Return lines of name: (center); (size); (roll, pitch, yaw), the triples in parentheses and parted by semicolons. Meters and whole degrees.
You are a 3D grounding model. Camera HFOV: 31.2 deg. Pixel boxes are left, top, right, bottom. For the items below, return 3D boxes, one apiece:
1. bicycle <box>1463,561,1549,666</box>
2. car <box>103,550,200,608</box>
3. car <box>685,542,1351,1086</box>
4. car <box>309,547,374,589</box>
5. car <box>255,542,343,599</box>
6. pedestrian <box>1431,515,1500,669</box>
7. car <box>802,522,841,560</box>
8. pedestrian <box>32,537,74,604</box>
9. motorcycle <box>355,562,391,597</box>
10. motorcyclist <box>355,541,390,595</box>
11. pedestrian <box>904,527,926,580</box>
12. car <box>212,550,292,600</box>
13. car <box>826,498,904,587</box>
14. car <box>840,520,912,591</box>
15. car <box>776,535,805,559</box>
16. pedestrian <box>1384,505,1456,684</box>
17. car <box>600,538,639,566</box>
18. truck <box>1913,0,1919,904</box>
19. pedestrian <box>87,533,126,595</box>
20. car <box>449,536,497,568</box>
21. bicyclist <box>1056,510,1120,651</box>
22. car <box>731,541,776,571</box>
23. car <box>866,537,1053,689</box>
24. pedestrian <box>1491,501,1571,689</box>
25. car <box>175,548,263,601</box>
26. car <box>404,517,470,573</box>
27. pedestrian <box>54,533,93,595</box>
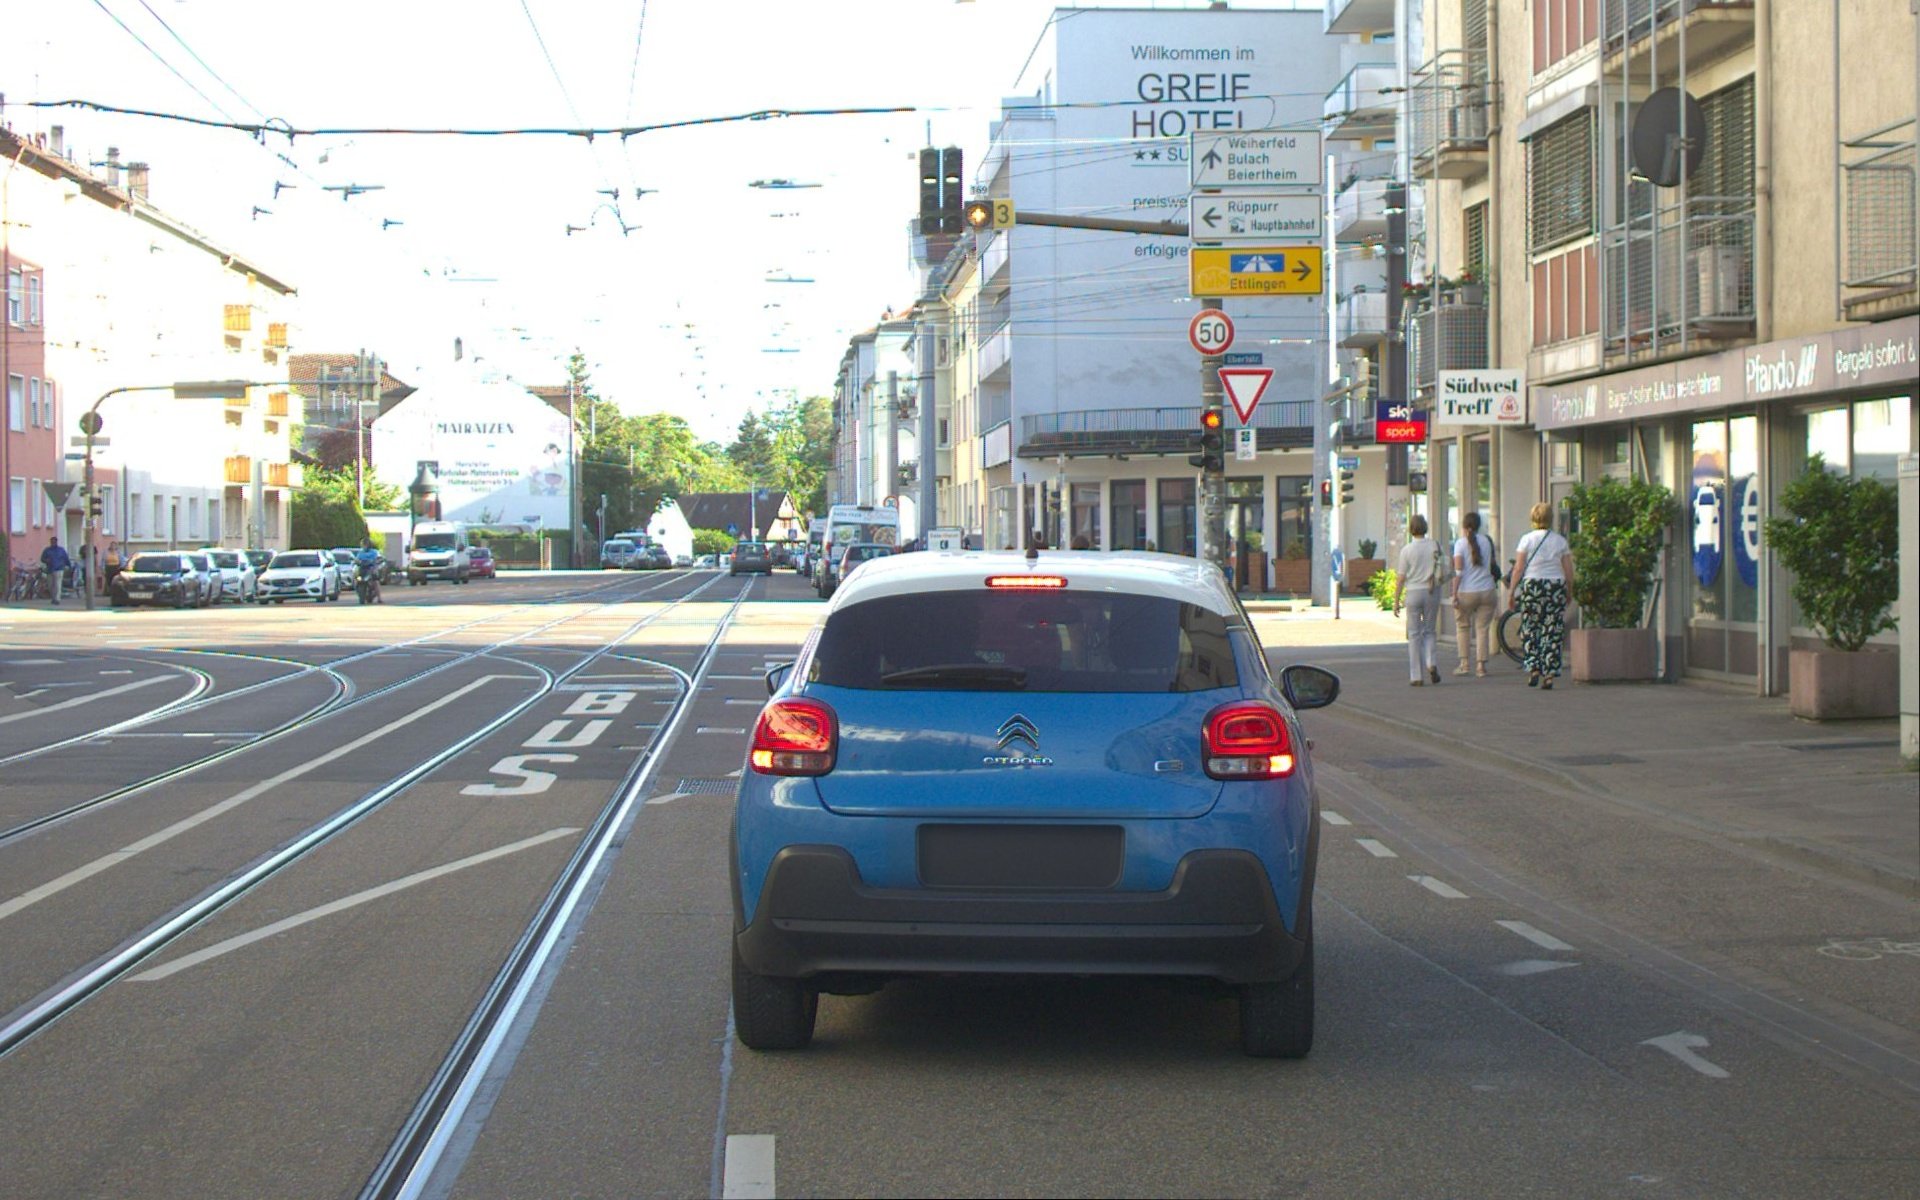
bicycle: (5.771, 0.130, 36.409); (0.530, 1.068, 1.811); (0, 1, -3)
car: (-21.021, -0.569, 89.559); (1.910, 1.428, 4.001); (0, 1, -5)
car: (0.005, 0.556, 11.356); (1.743, 1.457, 4.001); (1, 1, -5)
car: (-22.804, -1.192, 126.827); (1.911, 1.492, 4.001); (0, 1, -4)
car: (-18.541, -0.852, 96.558); (1.849, 1.568, 4.402); (0, 1, -3)
pedestrian: (5.082, -0.083, 34.580); (0.541, 1.502, 0.611); (-2, 3, -2)
car: (-6.134, -2.591, 152.073); (1.688, 1.612, 4.000); (1, 1, -2)
pedestrian: (-23.079, -0.755, 87.523); (0.844, 1.684, 0.737); (0, 1, 3)
motorcycle: (-15.001, -0.529, 87.937); (0.615, 0.861, 1.671); (0, 1, 0)
motorcyclist: (-14.993, -0.813, 87.778); (0.719, 1.373, 0.911); (0, 1, 0)
pedestrian: (-1.455, -1.489, 110.634); (0.708, 1.703, 0.748); (0, 1, 0)
car: (-21.951, -0.781, 106.704); (1.911, 1.492, 4.001); (0, 1, -4)
car: (-2.591, -1.544, 92.935); (1.993, 2.317, 4.001); (1, 1, -3)
car: (-2.165, -1.136, 88.019); (1.732, 1.744, 3.214); (1, 1, -3)
car: (-12.636, -3.947, 256.396); (1.993, 1.787, 4.000); (0, 1, 0)
pedestrian: (4.403, -0.058, 32.928); (0.541, 1.666, 0.624); (-2, 3, -2)
car: (-18.802, -2.653, 190.108); (2.021, 1.520, 4.001); (0, 1, -4)
truck: (3.589, -0.564, 1.293); (2.860, 4.059, 11.780); (-1, 1, -2)
pedestrian: (-23.294, -0.975, 93.849); (0.844, 1.684, 0.737); (0, 1, 3)
car: (-23.431, -2.309, 165.477); (2.021, 1.520, 4.001); (0, 1, -4)
bicyclist: (1.507, -0.233, 40.620); (0.726, 1.640, 0.790); (0, 1, 0)
car: (-8.965, -1.922, 149.091); (1.754, 1.255, 3.833); (0, 1, -7)
car: (-0.002, 0.082, 33.998); (1.738, 1.415, 4.000); (0, 1, 0)
pedestrian: (5.172, -0.050, 31.143); (0.541, 1.666, 0.650); (-2, 1, -2)
car: (-21.507, -0.754, 99.915); (1.911, 1.492, 4.001); (0, 1, -4)
car: (-21.269, -2.255, 139.977); (2.206, 2.243, 4.677); (0, 1, -4)
pedestrian: (-24.173, -0.985, 93.750); (0.844, 1.684, 0.737); (0, 1, 3)
